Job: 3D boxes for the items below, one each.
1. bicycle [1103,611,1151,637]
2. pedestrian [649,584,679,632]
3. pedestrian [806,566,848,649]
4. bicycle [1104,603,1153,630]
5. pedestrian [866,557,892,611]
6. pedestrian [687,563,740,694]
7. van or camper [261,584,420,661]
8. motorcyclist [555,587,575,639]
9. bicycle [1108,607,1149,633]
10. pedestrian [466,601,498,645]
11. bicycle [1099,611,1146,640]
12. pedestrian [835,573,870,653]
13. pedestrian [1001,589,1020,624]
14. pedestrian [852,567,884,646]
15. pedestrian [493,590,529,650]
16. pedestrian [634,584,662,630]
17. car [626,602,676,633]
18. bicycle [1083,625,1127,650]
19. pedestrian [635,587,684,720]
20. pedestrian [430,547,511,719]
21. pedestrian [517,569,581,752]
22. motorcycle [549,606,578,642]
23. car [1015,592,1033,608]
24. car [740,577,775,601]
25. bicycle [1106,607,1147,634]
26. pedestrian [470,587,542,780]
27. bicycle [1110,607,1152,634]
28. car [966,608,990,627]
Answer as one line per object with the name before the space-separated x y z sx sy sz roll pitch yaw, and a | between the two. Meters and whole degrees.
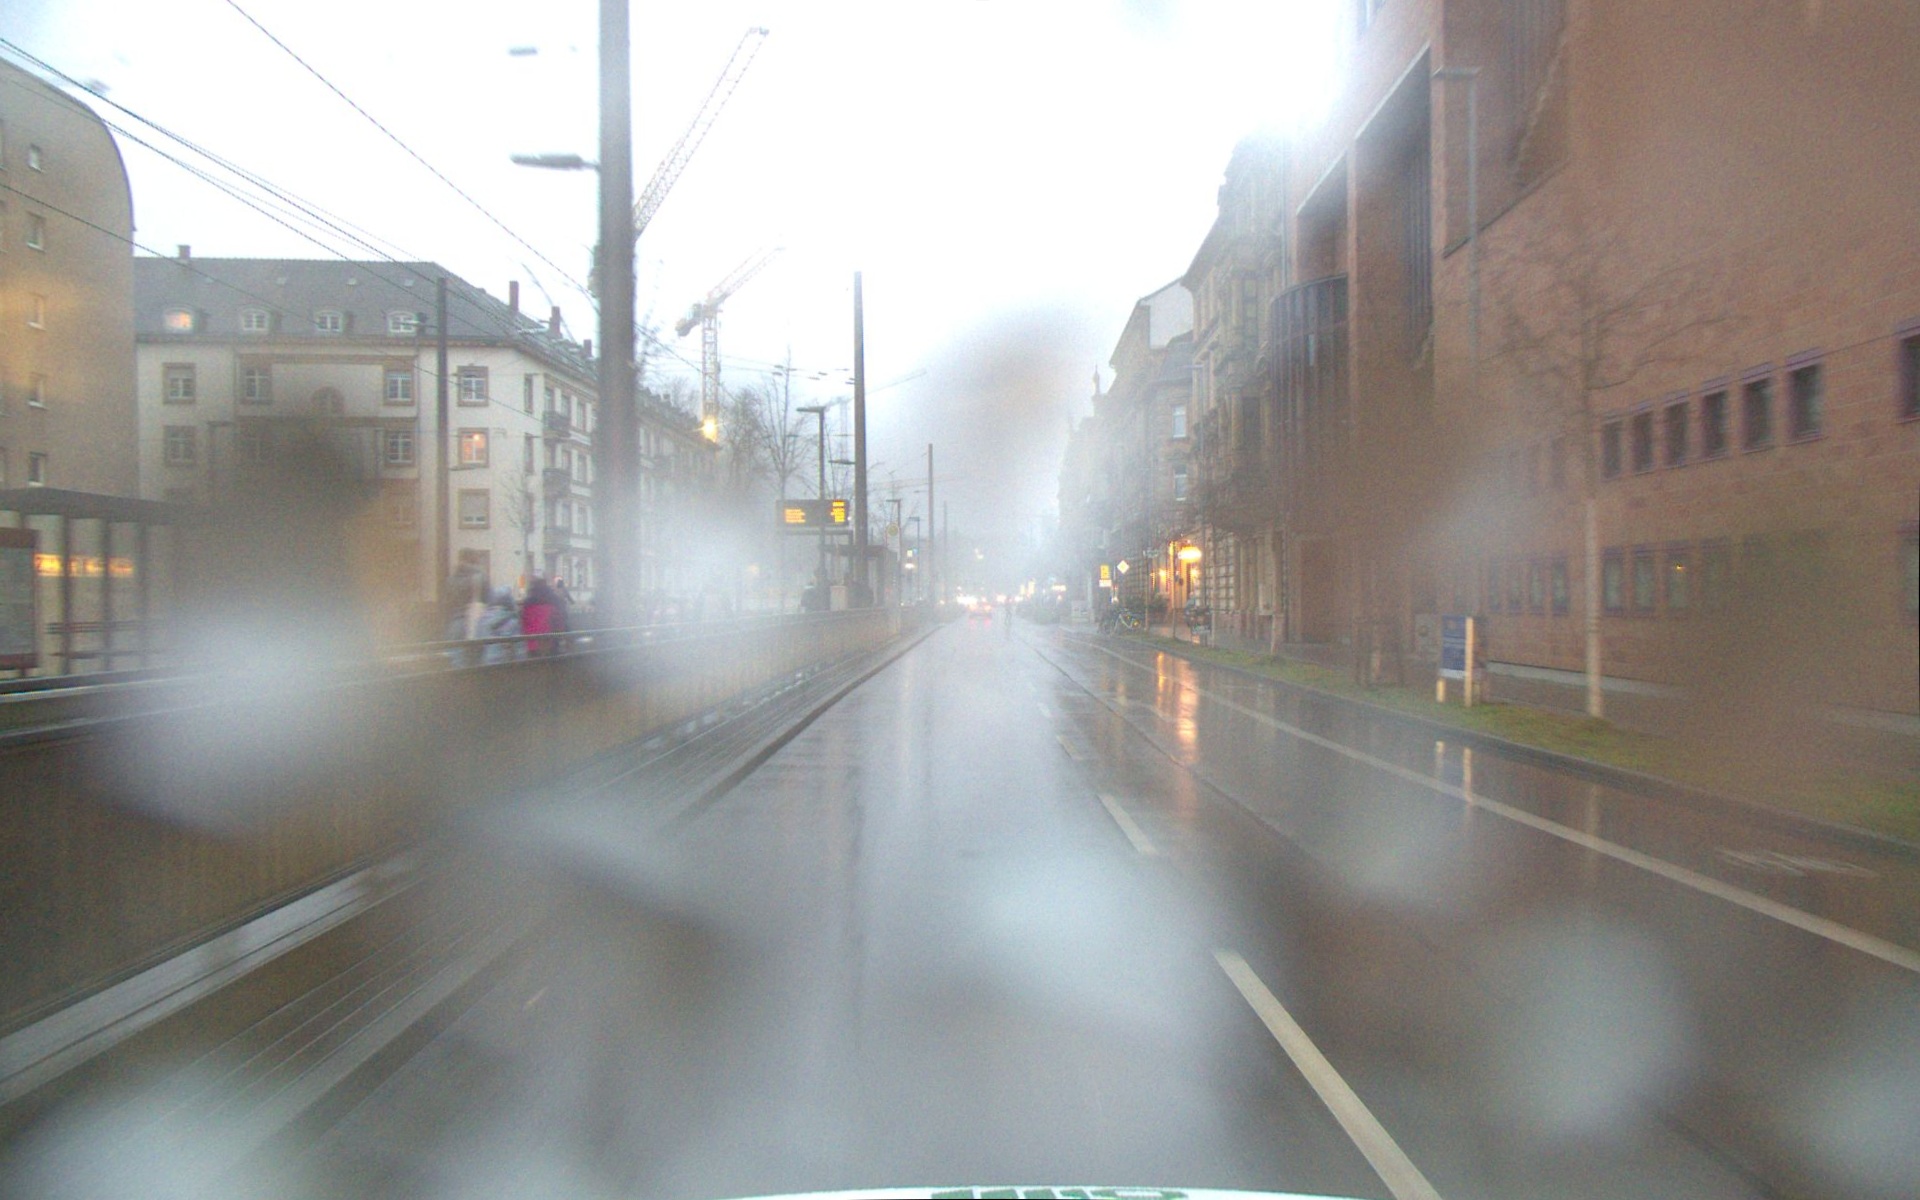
bicycle | 7.488 1.064 74.258 2.100 1.073 0.484 -2 0 -1
pedestrian | -11.375 0.295 63.540 0.791 1.811 0.810 1 0 -41
pedestrian | -2.827 0.155 35.133 0.764 1.733 0.769 0 0 -18
bicycle | 7.485 0.714 73.657 2.100 1.073 0.425 -3 1 0
pedestrian | -2.346 -0.457 47.618 0.668 1.542 0.617 0 0 -12
pedestrian | -3.327 0.376 22.328 0.635 1.733 0.565 0 0 -17
van or camper | -23.374 0.805 62.831 2.714 2.729 6.759 1 0 8
motorcyclist | -11.705 0.382 49.028 0.489 1.522 0.556 1 0 -4
bicycle | 7.229 0.857 70.931 1.694 1.073 0.371 -2 0 -1
pedestrian | -12.503 0.601 43.270 0.603 1.122 0.583 1 0 -40
bicycle | 7.098 1.105 72.398 1.967 1.114 0.425 -4 0 -1
pedestrian | -2.711 0.329 41.611 0.793 1.981 0.804 -1 0 1
pedestrian | 2.958 0.374 97.365 0.896 2.049 0.856 -1 0 20
pedestrian | -2.511 0.169 45.263 0.793 2.147 0.804 -1 0 1
pedestrian | -11.759 0.525 43.315 0.631 1.551 0.745 1 0 -41
pedestrian | -12.346 0.282 65.394 0.791 1.811 0.810 1 0 -41
car | -14.081 0.793 75.527 1.647 1.378 3.545 0 0 0
bicycle | 6.852 1.766 78.089 2.062 1.070 0.474 -2 0 -26
pedestrian | -3.954 0.693 21.773 0.529 1.722 0.643 0 0 -2
pedestrian | -4.719 0.314 15.963 0.605 1.618 0.622 0 0 -2
pedestrian | -3.917 0.566 15.780 0.471 1.708 0.563 0 0 -2
motorcycle | -11.745 0.699 49.059 0.502 1.026 1.806 1 0 -3
car | 6.923 -0.022 178.515 1.761 1.632 3.771 -1 0 3
car | -12.027 -0.658 98.495 1.647 1.378 3.545 0 0 0
bicycle | 7.196 0.887 71.351 1.694 1.073 0.371 -2 0 -1
pedestrian | -3.895 0.702 14.212 0.471 1.618 0.563 0 0 -2
bicycle | 7.282 0.855 70.429 1.694 1.073 0.371 -2 0 -1
car | 1.457 1.393 132.642 1.747 1.492 3.149 -1 0 3
